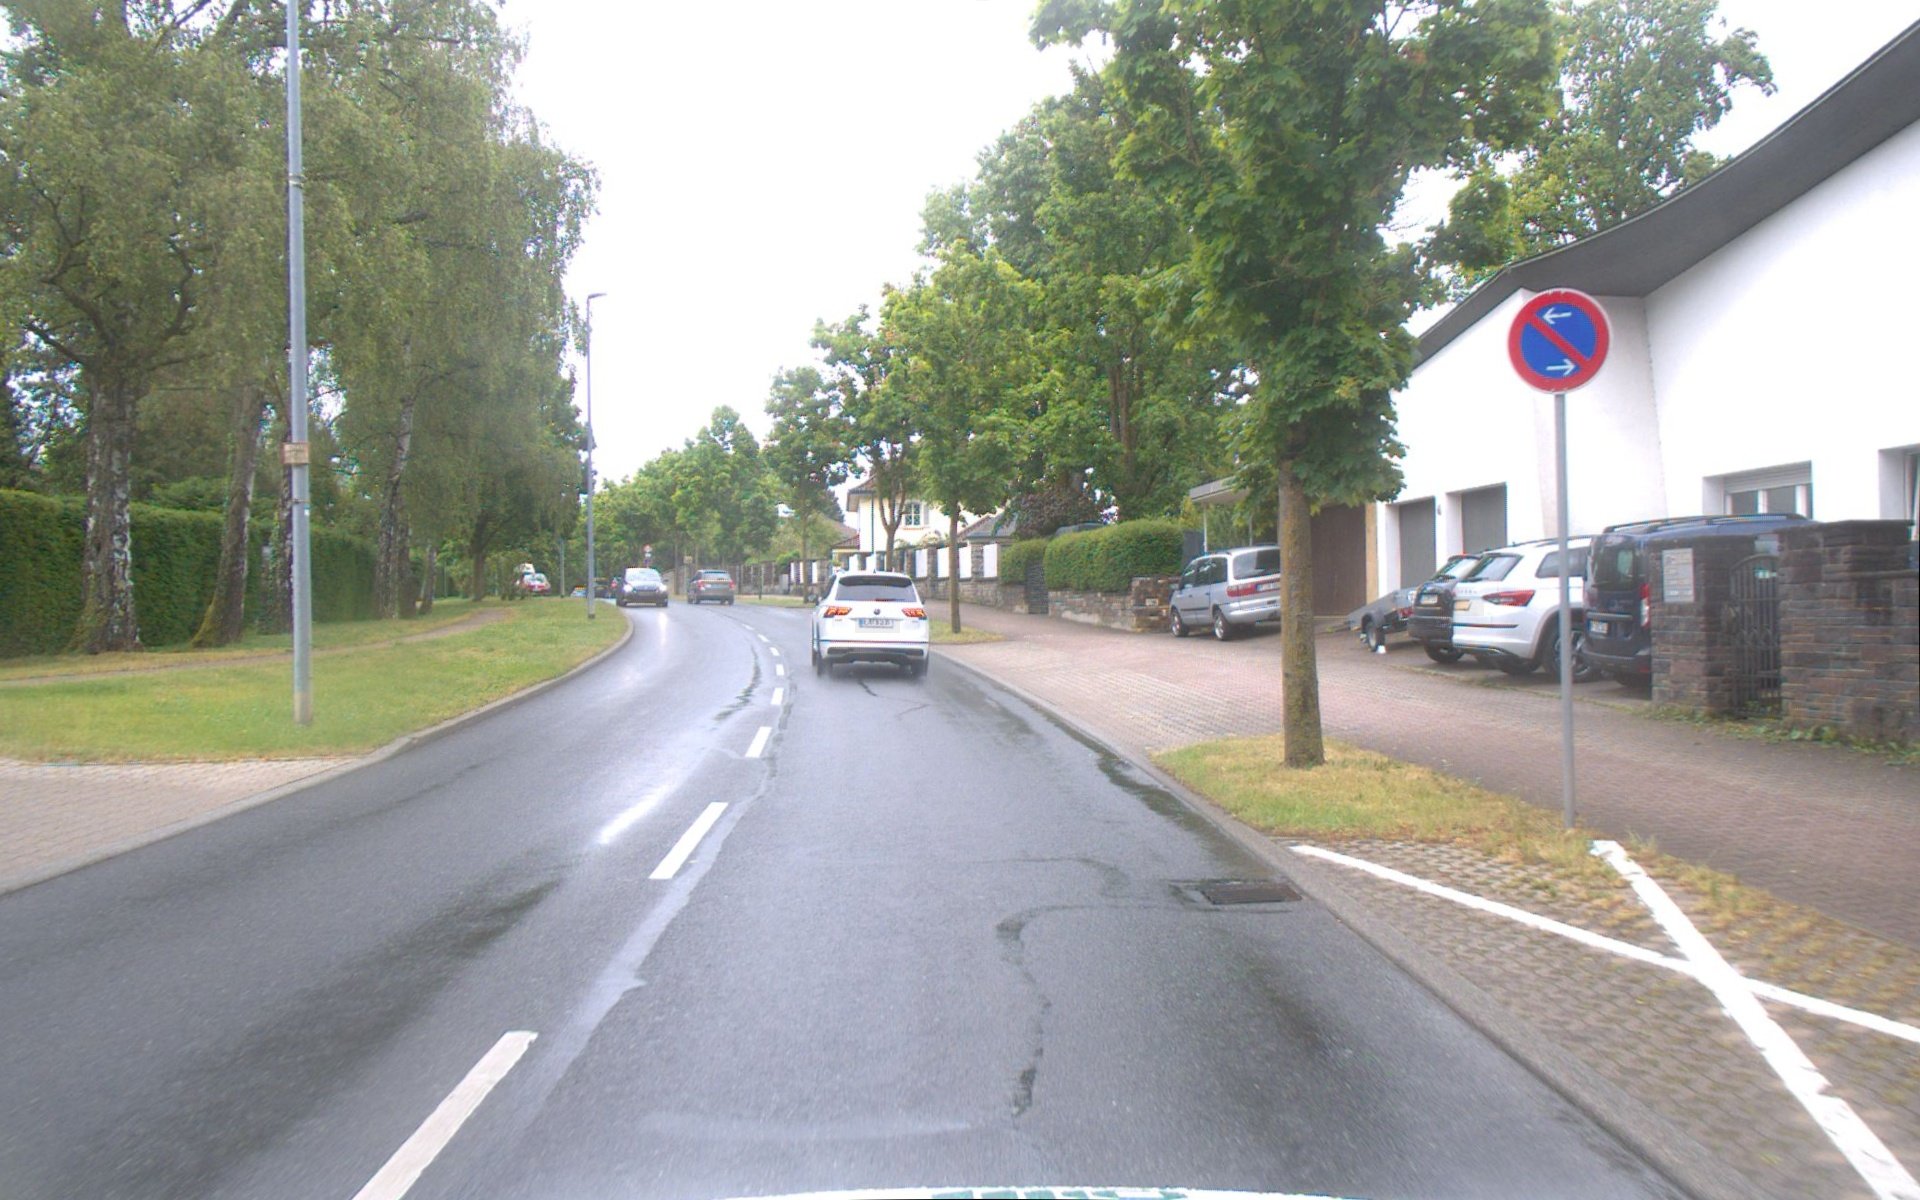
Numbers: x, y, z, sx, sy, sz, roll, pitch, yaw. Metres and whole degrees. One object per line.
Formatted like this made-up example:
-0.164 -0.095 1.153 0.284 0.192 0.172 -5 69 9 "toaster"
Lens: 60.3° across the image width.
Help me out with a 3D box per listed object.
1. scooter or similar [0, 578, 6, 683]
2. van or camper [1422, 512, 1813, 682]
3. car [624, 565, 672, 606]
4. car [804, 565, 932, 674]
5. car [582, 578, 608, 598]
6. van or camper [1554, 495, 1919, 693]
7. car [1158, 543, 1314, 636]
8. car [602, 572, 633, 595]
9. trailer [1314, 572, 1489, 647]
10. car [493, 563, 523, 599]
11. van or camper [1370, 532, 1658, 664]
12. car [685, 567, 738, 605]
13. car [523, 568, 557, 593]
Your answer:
-11.221 0.348 18.045 0.415 1.178 1.491 2 1 18 "scooter or similar"
8.061 -0.059 20.527 3.911 1.706 2.121 -4 1 -6 "van or camper"
-12.089 -0.571 63.995 1.724 1.466 4.145 1 1 -12 "car"
-1.478 0.266 27.572 1.956 1.660 3.999 1 1 -2 "car"
-29.222 -0.997 132.199 1.821 1.442 4.209 1 1 -15 "car"
8.869 -0.115 18.102 3.934 1.819 1.946 -4 1 -3 "van or camper"
5.696 -0.250 34.725 1.761 1.788 4.933 -1 1 -9 "car"
-23.217 -1.104 111.969 1.821 1.442 4.209 1 1 -15 "car"
7.008 0.141 26.541 1.395 0.936 3.267 -8 1 -10 "trailer"
-33.741 -1.371 123.393 1.962 2.606 5.207 -1 0 -17 "car"
7.691 -0.048 23.087 3.341 1.582 1.765 -3 1 -11 "van or camper"
-10.724 -0.622 71.158 1.810 1.513 3.984 1 1 -15 "car"
-25.673 -1.167 101.062 1.814 1.491 4.228 0 0 -18 "car"
